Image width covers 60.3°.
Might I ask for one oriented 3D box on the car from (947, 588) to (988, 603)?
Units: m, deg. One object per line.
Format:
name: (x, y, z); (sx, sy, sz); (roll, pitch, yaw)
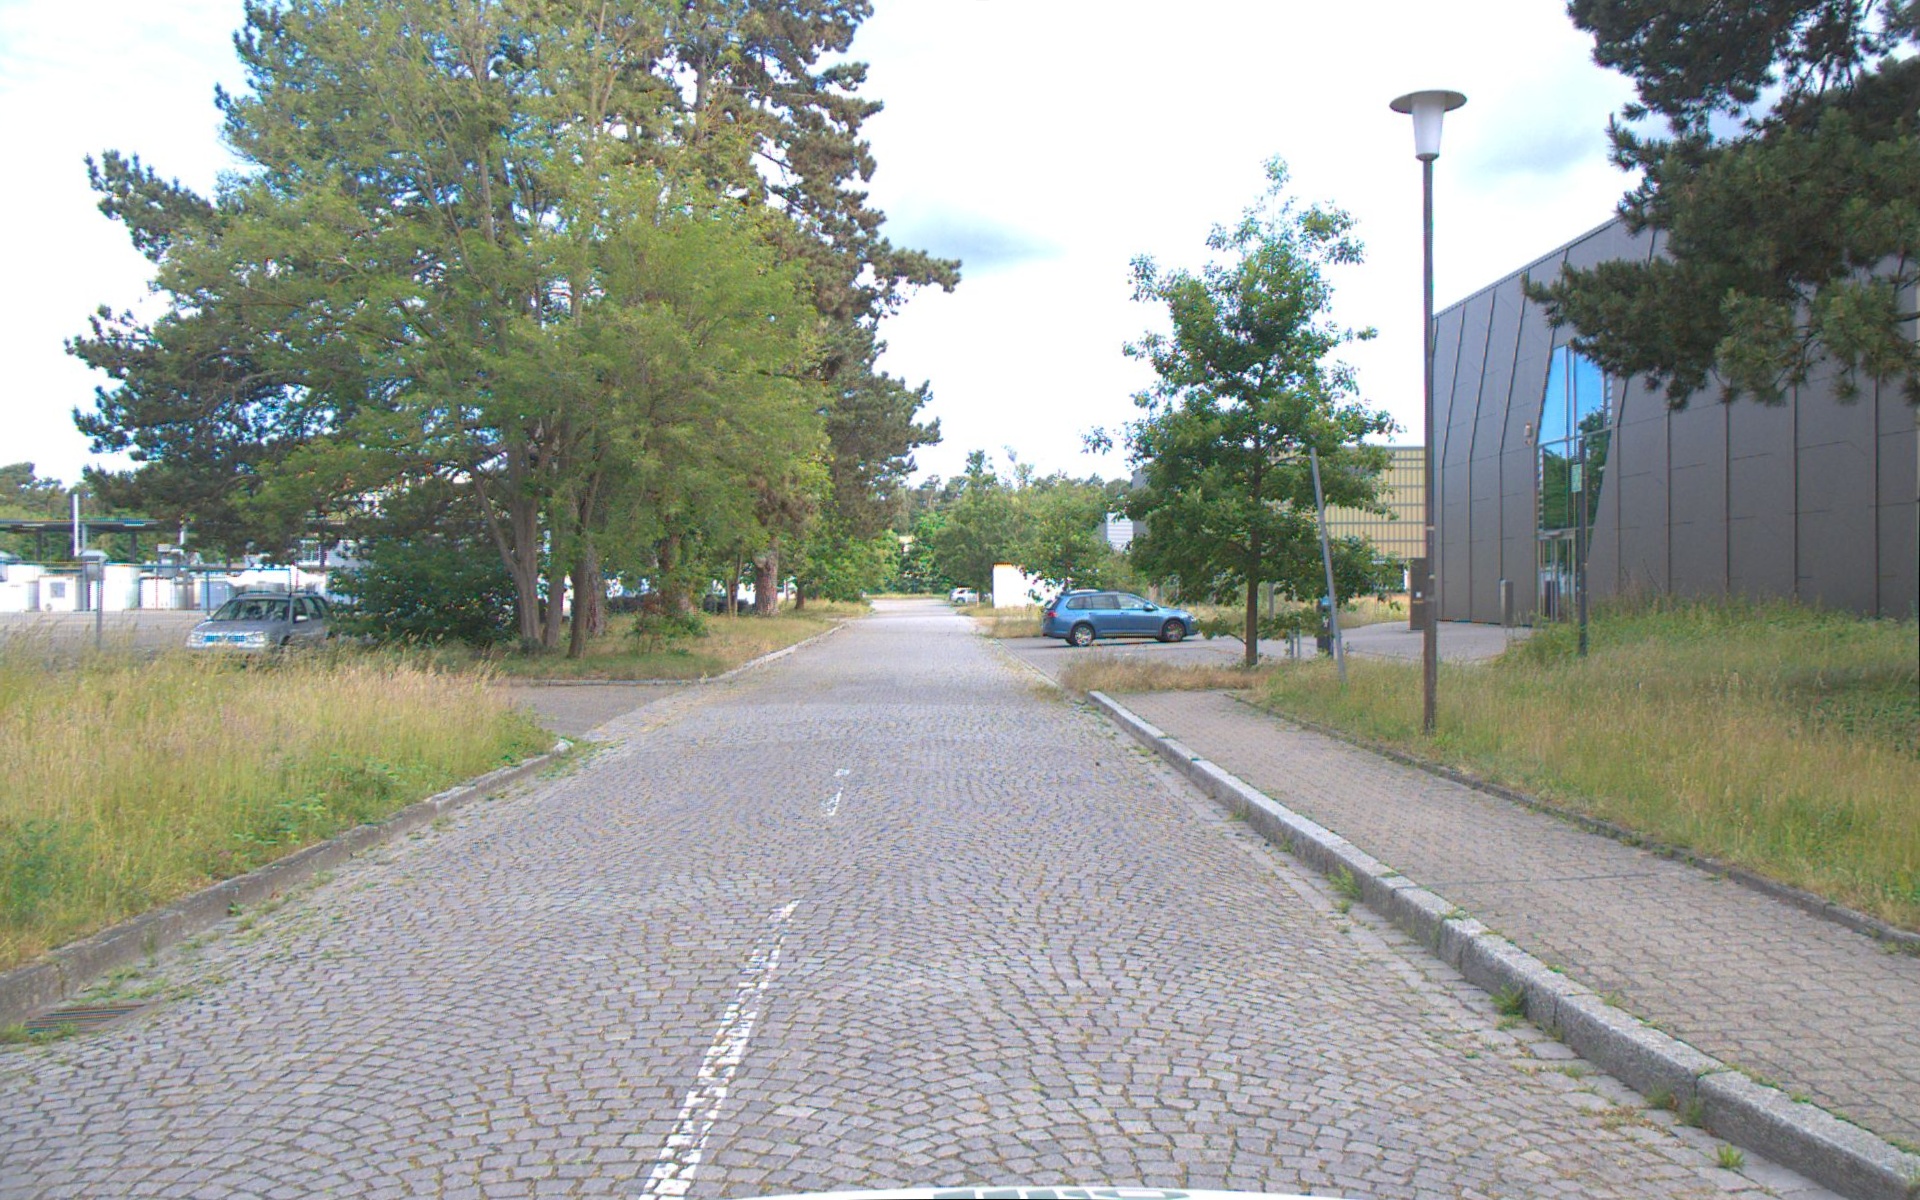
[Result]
car: (0.748, -0.466, 164.135); (3.911, 1.422, 1.997); (-1, 1, -7)

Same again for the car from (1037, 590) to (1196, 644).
car: (4.407, 0.472, 47.146); (4.258, 1.447, 1.999); (-1, 1, -4)

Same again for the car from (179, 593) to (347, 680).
car: (-13.198, 0.640, 31.554); (1.580, 1.513, 3.999); (0, 0, -1)
